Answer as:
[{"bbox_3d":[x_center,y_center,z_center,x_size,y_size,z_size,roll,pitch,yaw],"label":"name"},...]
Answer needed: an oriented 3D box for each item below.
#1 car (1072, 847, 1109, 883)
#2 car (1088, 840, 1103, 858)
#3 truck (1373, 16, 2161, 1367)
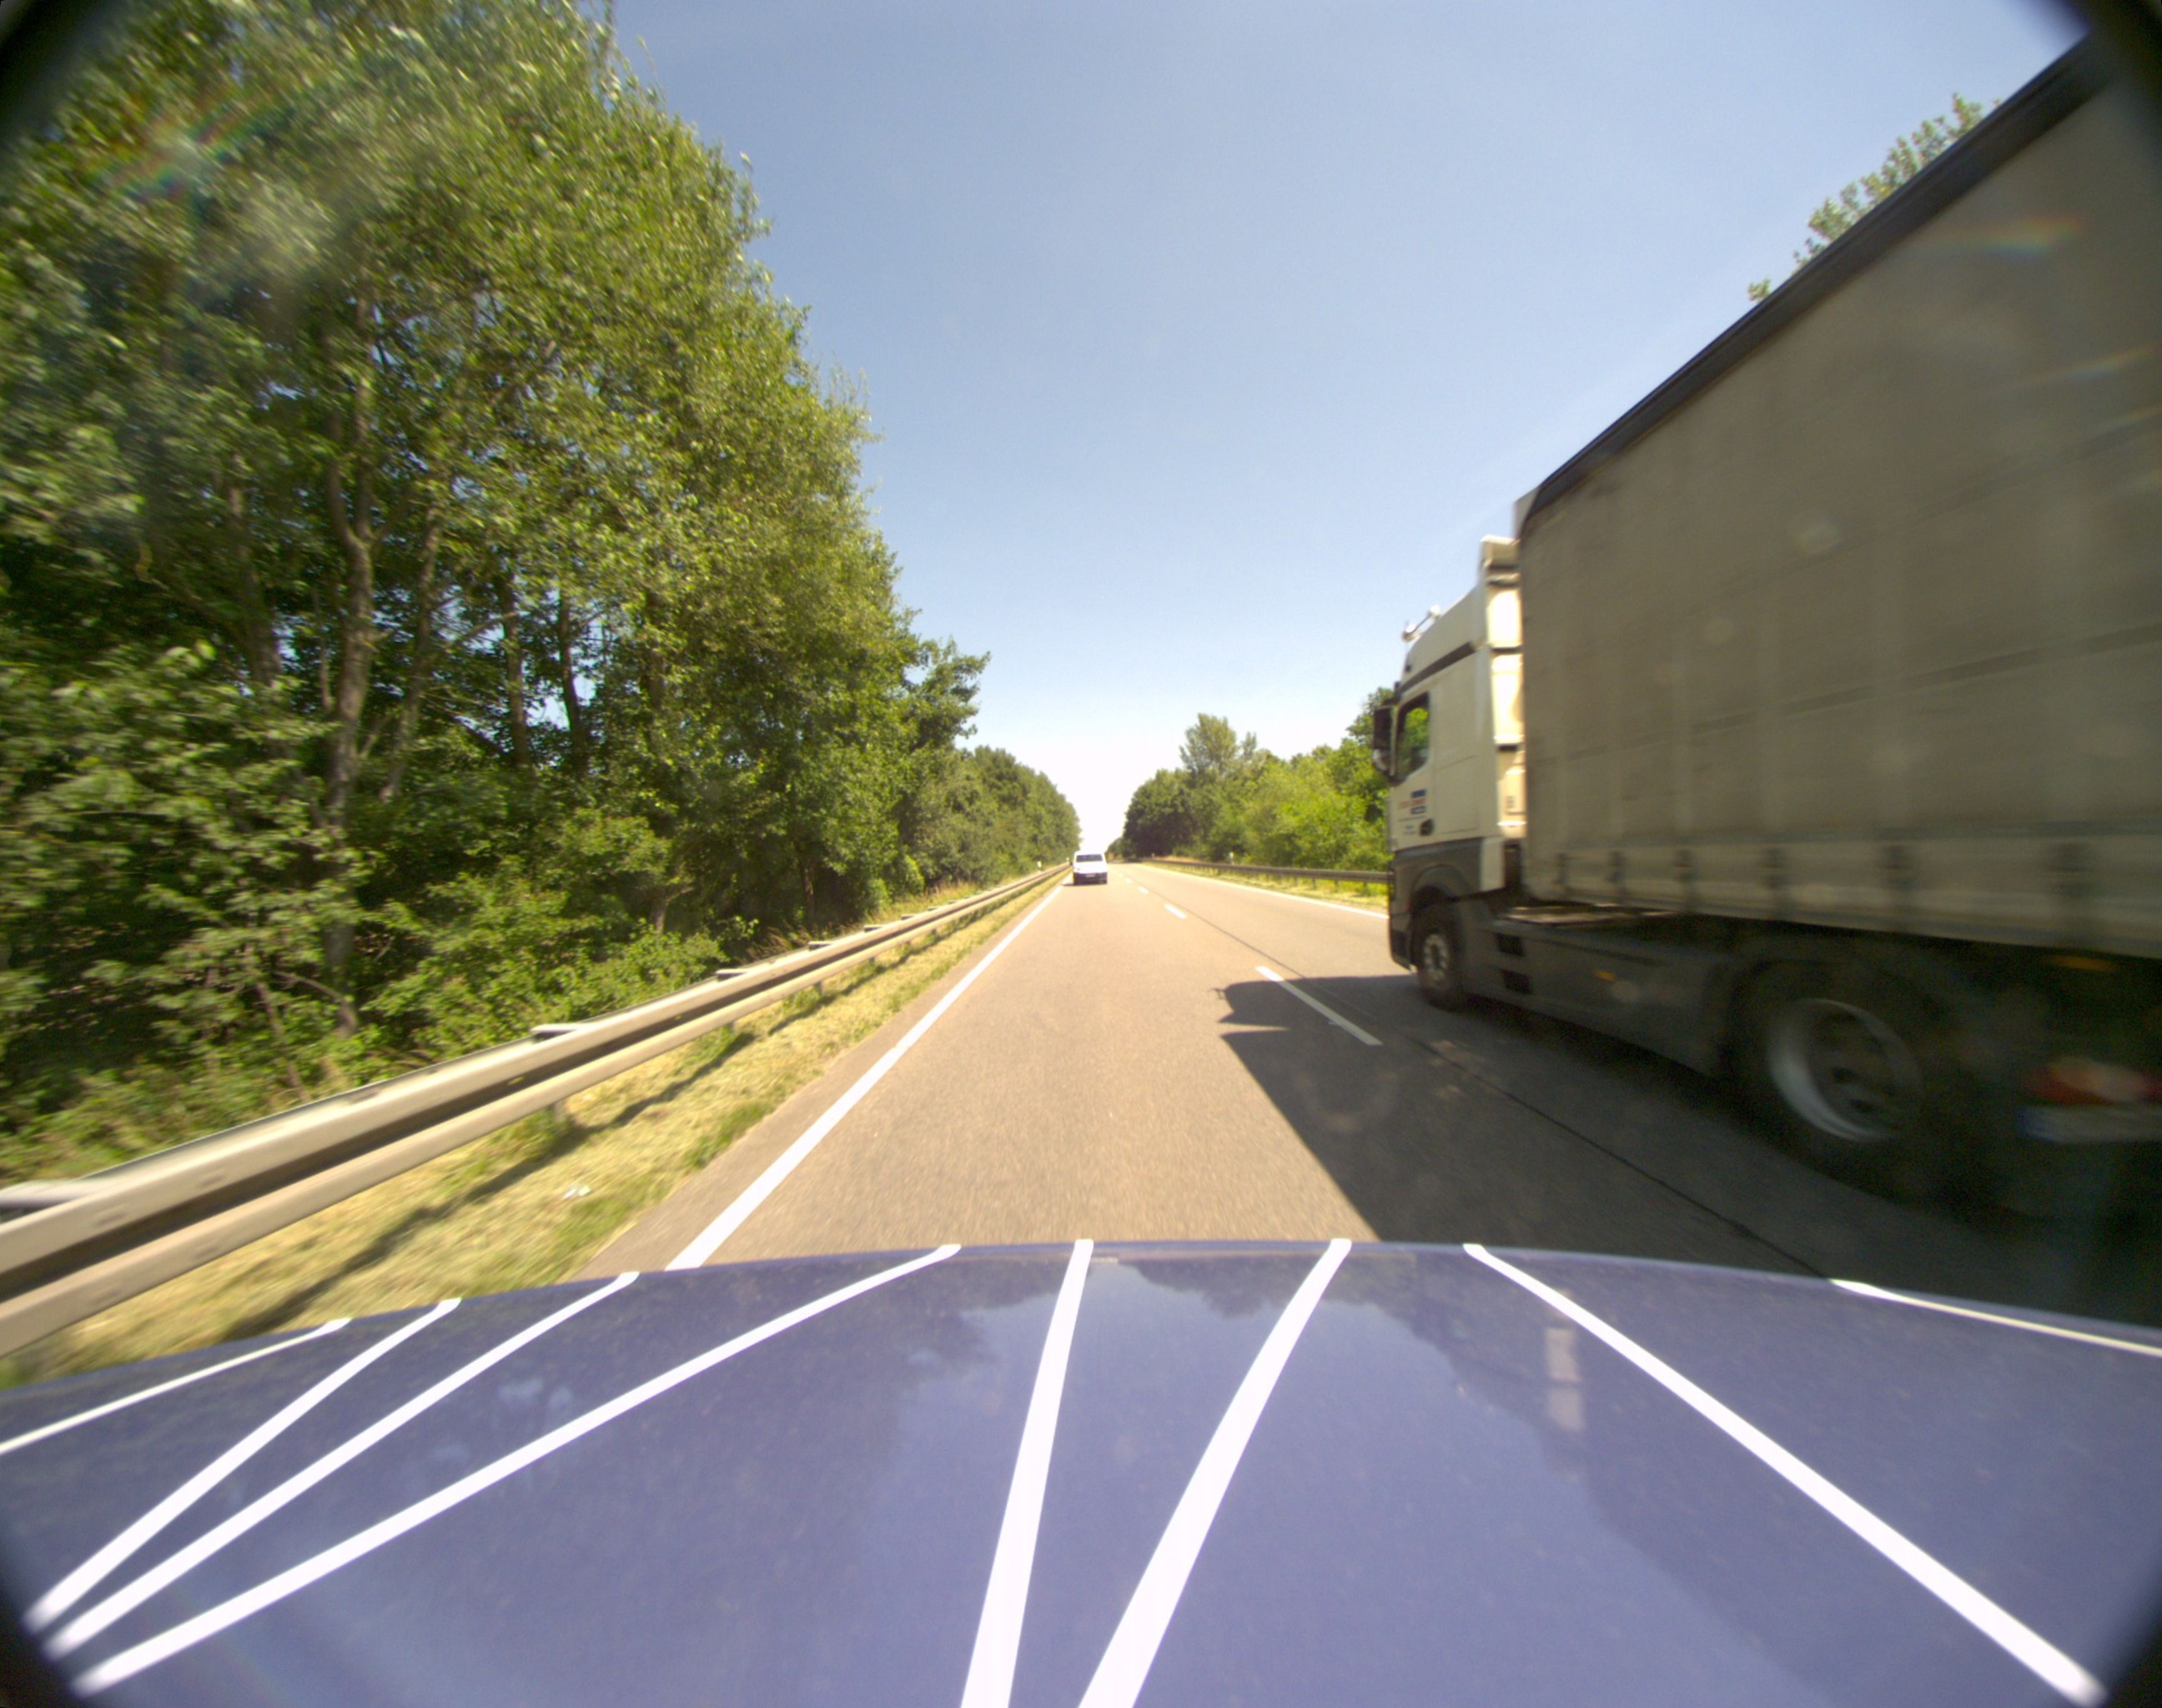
[{"bbox_3d":[0.539,0.569,40.984,1.782,1.743,4.513,-3,-1,1],"label":"car"},{"bbox_3d":[2.000,-0.625,104.084,1.782,2.287,4.106,-3,0,1],"label":"car"},{"bbox_3d":[4.511,-0.502,5.189,2.770,3.976,5.906,-1,1,1],"label":"truck"}]
